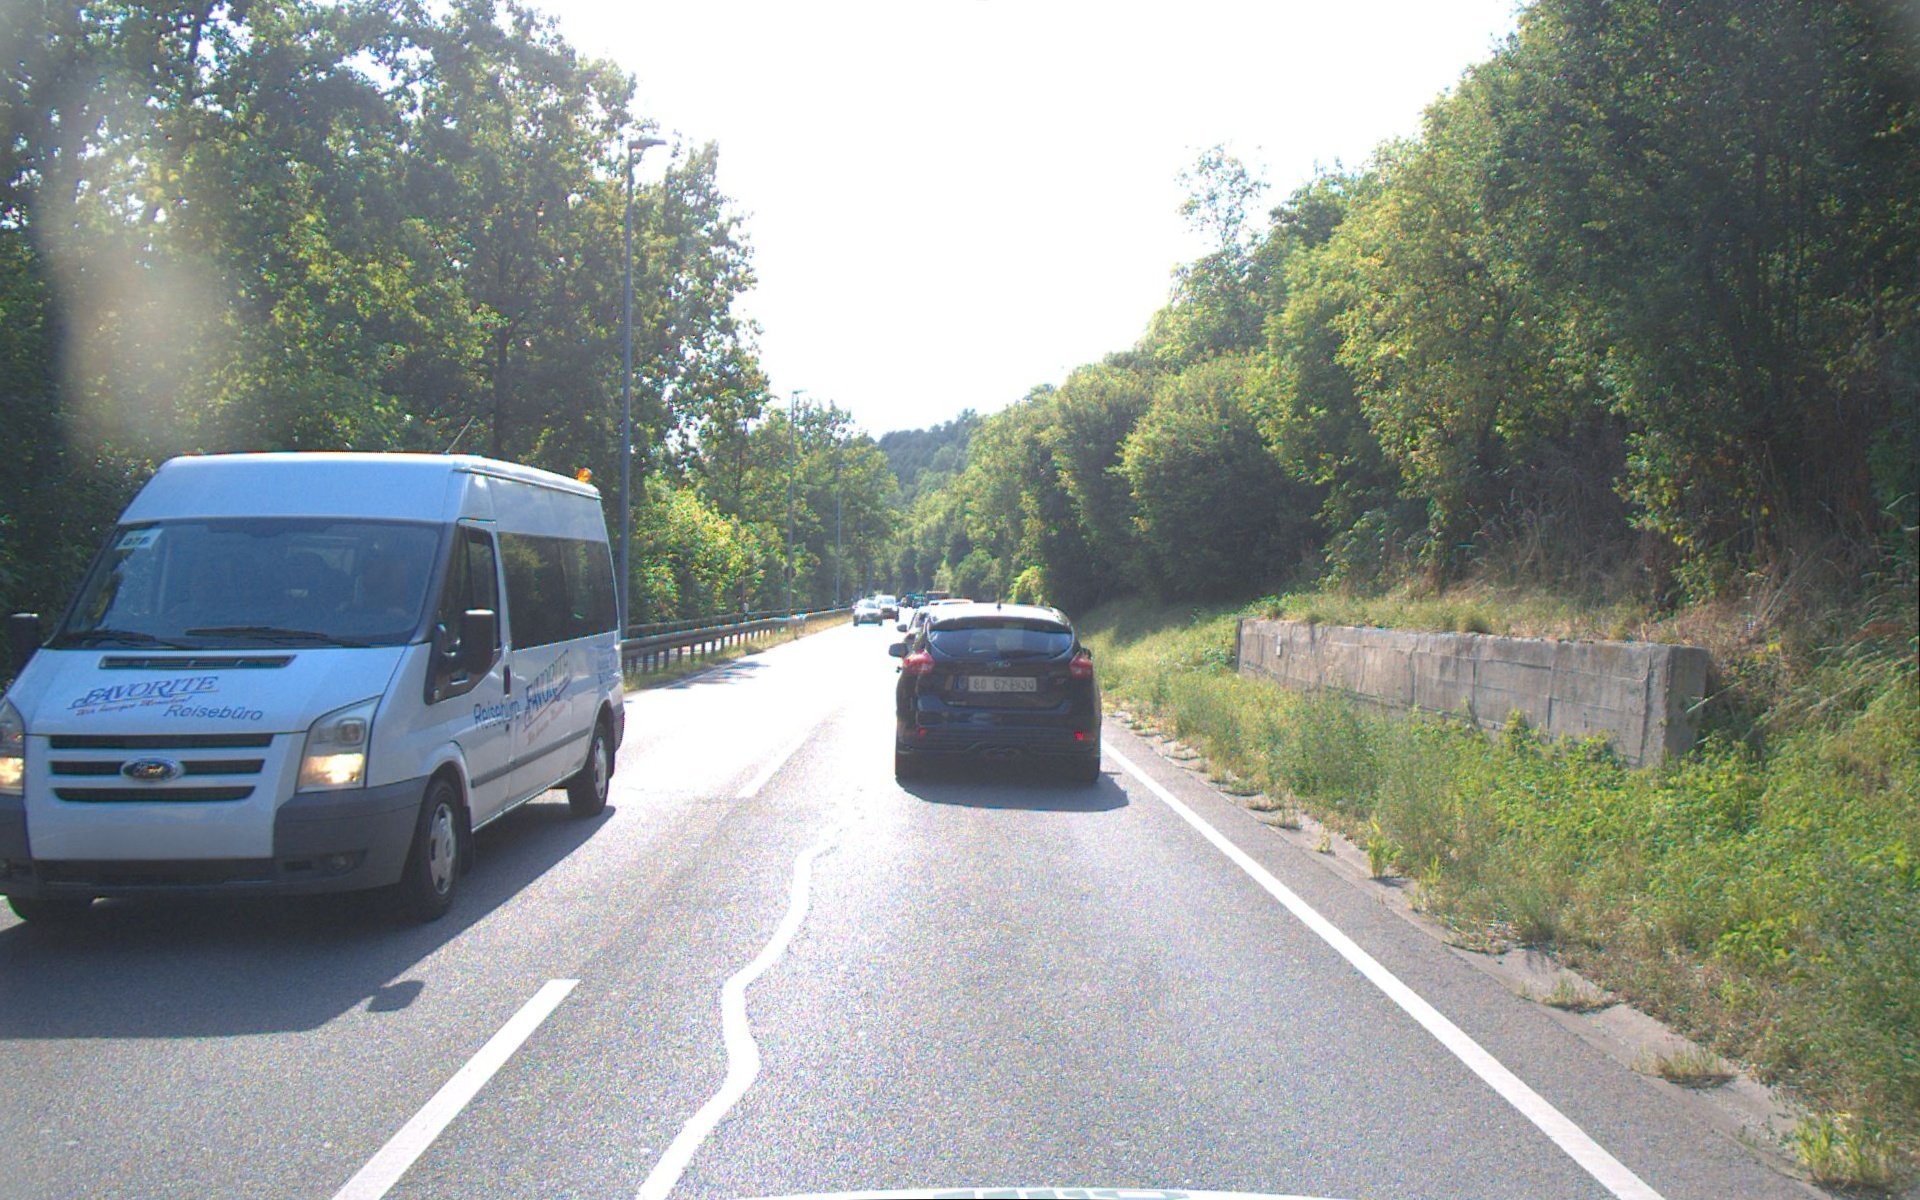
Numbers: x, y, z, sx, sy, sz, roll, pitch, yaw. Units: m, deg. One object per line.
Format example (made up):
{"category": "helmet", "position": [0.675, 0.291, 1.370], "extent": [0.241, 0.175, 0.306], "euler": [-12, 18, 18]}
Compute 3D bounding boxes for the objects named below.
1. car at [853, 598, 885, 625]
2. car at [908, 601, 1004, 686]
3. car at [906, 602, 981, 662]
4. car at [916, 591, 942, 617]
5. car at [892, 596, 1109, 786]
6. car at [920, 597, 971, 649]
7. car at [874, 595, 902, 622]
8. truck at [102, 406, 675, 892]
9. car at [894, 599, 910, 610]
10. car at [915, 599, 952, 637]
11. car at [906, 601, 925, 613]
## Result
{"category": "car", "position": [-5.158, 0.660, 94.210], "extent": [1.647, 1.467, 3.999], "euler": [0, 0, -1]}
{"category": "car", "position": [-0.044, 0.743, 30.103], "extent": [1.627, 1.443, 4.000], "euler": [0, 0, 0]}
{"category": "car", "position": [-0.421, 0.759, 41.422], "extent": [1.768, 1.416, 3.999], "euler": [0, 0, -1]}
{"category": "car", "position": [-2.167, 0.268, 117.570], "extent": [1.825, 1.812, 3.999], "euler": [0, 0, -1]}
{"category": "car", "position": [0.293, 0.735, 15.161], "extent": [1.704, 1.482, 3.999], "euler": [1, 0, -1]}
{"category": "car", "position": [-0.484, 0.718, 53.859], "extent": [1.597, 1.624, 3.999], "euler": [0, 0, -1]}
{"category": "car", "position": [-4.733, 0.554, 109.532], "extent": [1.712, 1.747, 4.220], "euler": [0, 0, -1]}
{"category": "truck", "position": [-3.366, 0.240, 11.232], "extent": [2.016, 2.427, 5.871], "euler": [0, 0, -2]}
{"category": "car", "position": [-8.468, 0.686, 242.199], "extent": [1.956, 1.545, 3.992], "euler": [0, 0, -8]}
{"category": "car", "position": [-1.189, 0.780, 74.352], "extent": [1.597, 1.624, 3.999], "euler": [0, 0, -1]}
{"category": "car", "position": [-5.660, 0.859, 208.301], "extent": [1.956, 1.545, 3.992], "euler": [0, 0, -8]}
